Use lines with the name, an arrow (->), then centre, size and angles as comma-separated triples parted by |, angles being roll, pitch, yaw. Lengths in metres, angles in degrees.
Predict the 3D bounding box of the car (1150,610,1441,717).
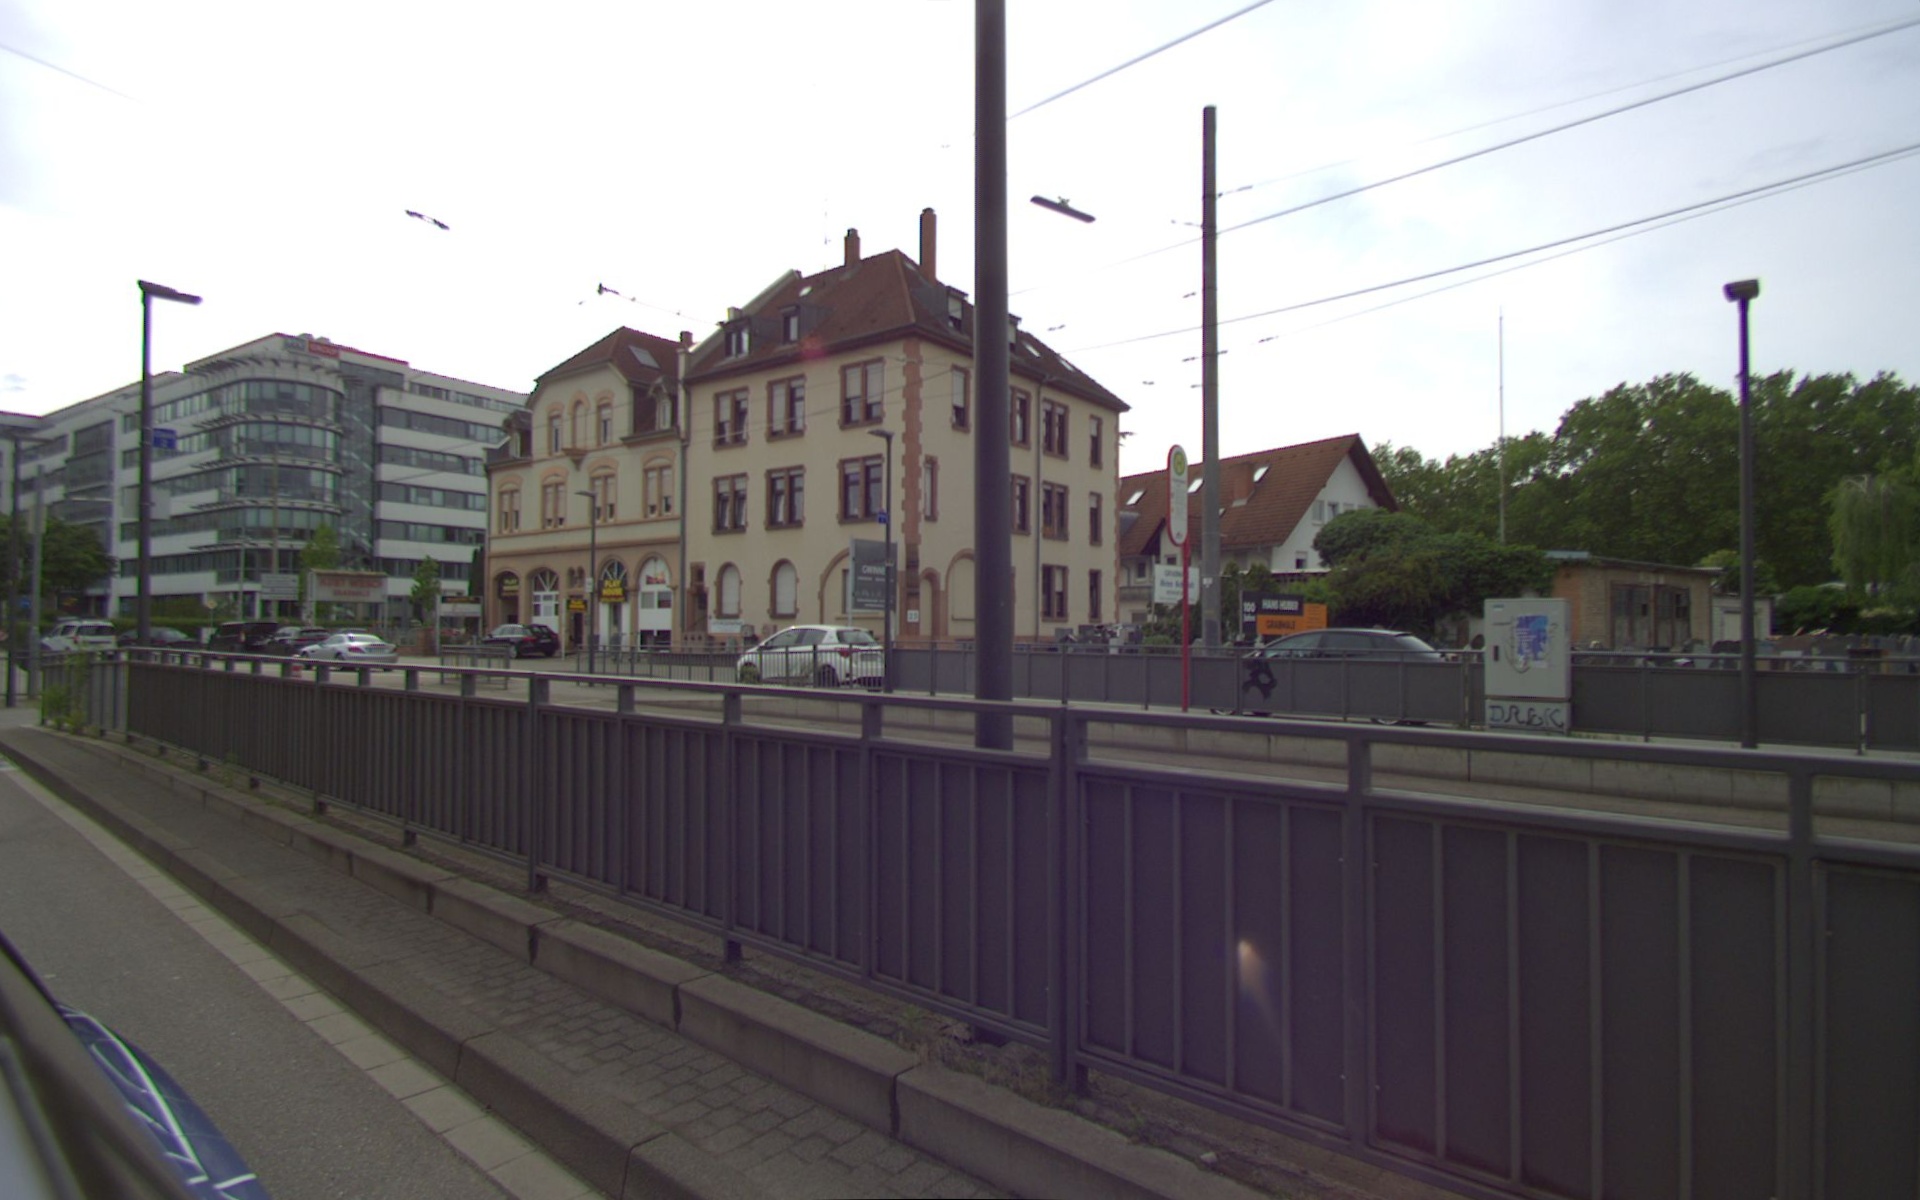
car -> 5.167, 0.930, 15.786 | 3.991, 1.462, 1.748 | -1, -3, 35

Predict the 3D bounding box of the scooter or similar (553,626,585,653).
scooter or similar -> -16.742, 1.680, 43.355 | 0.526, 1.110, 1.165 | -1, 1, 32

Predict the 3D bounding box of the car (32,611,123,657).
car -> -40.444, 1.558, 46.353 | 4.509, 2.004, 1.870 | -1, -3, 32

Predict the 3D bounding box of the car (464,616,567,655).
car -> -19.763, 1.546, 44.900 | 4.893, 1.504, 1.976 | -1, 2, 37

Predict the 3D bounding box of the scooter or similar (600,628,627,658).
scooter or similar -> -13.281, 1.634, 38.852 | 0.521, 1.110, 1.175 | 0, -1, 7

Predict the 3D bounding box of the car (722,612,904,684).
car -> -3.384, 1.096, 23.015 | 3.994, 1.497, 1.846 | -1, -5, 38

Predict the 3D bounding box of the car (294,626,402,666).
car -> -21.437, 1.599, 35.428 | 3.821, 1.309, 1.736 | -1, -3, 33

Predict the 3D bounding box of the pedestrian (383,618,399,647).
pedestrian -> -35.120, 1.982, 62.507 | 0.761, 1.787, 0.628 | -1, -1, 40

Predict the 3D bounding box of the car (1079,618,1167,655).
car -> 6.803, 1.480, 42.018 | 3.820, 1.424, 1.694 | 1, -1, -45

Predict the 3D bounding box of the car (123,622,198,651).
car -> -45.041, 2.094, 57.103 | 1.765, 1.542, 4.152 | 2, -3, -15

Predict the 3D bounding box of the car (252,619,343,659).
car -> -31.253, 1.842, 47.703 | 4.523, 1.762, 2.020 | -2, -1, 34

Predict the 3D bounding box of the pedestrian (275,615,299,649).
pedestrian -> -36.427, 1.730, 54.800 | 1.058, 1.839, 0.796 | -1, -1, 38

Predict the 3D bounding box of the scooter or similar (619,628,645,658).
scooter or similar -> -12.509, 1.629, 38.606 | 0.521, 1.110, 1.175 | 0, -1, 7

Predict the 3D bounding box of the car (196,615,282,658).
car -> -36.457, 1.787, 51.114 | 5.174, 2.029, 1.969 | -1, 0, 36
